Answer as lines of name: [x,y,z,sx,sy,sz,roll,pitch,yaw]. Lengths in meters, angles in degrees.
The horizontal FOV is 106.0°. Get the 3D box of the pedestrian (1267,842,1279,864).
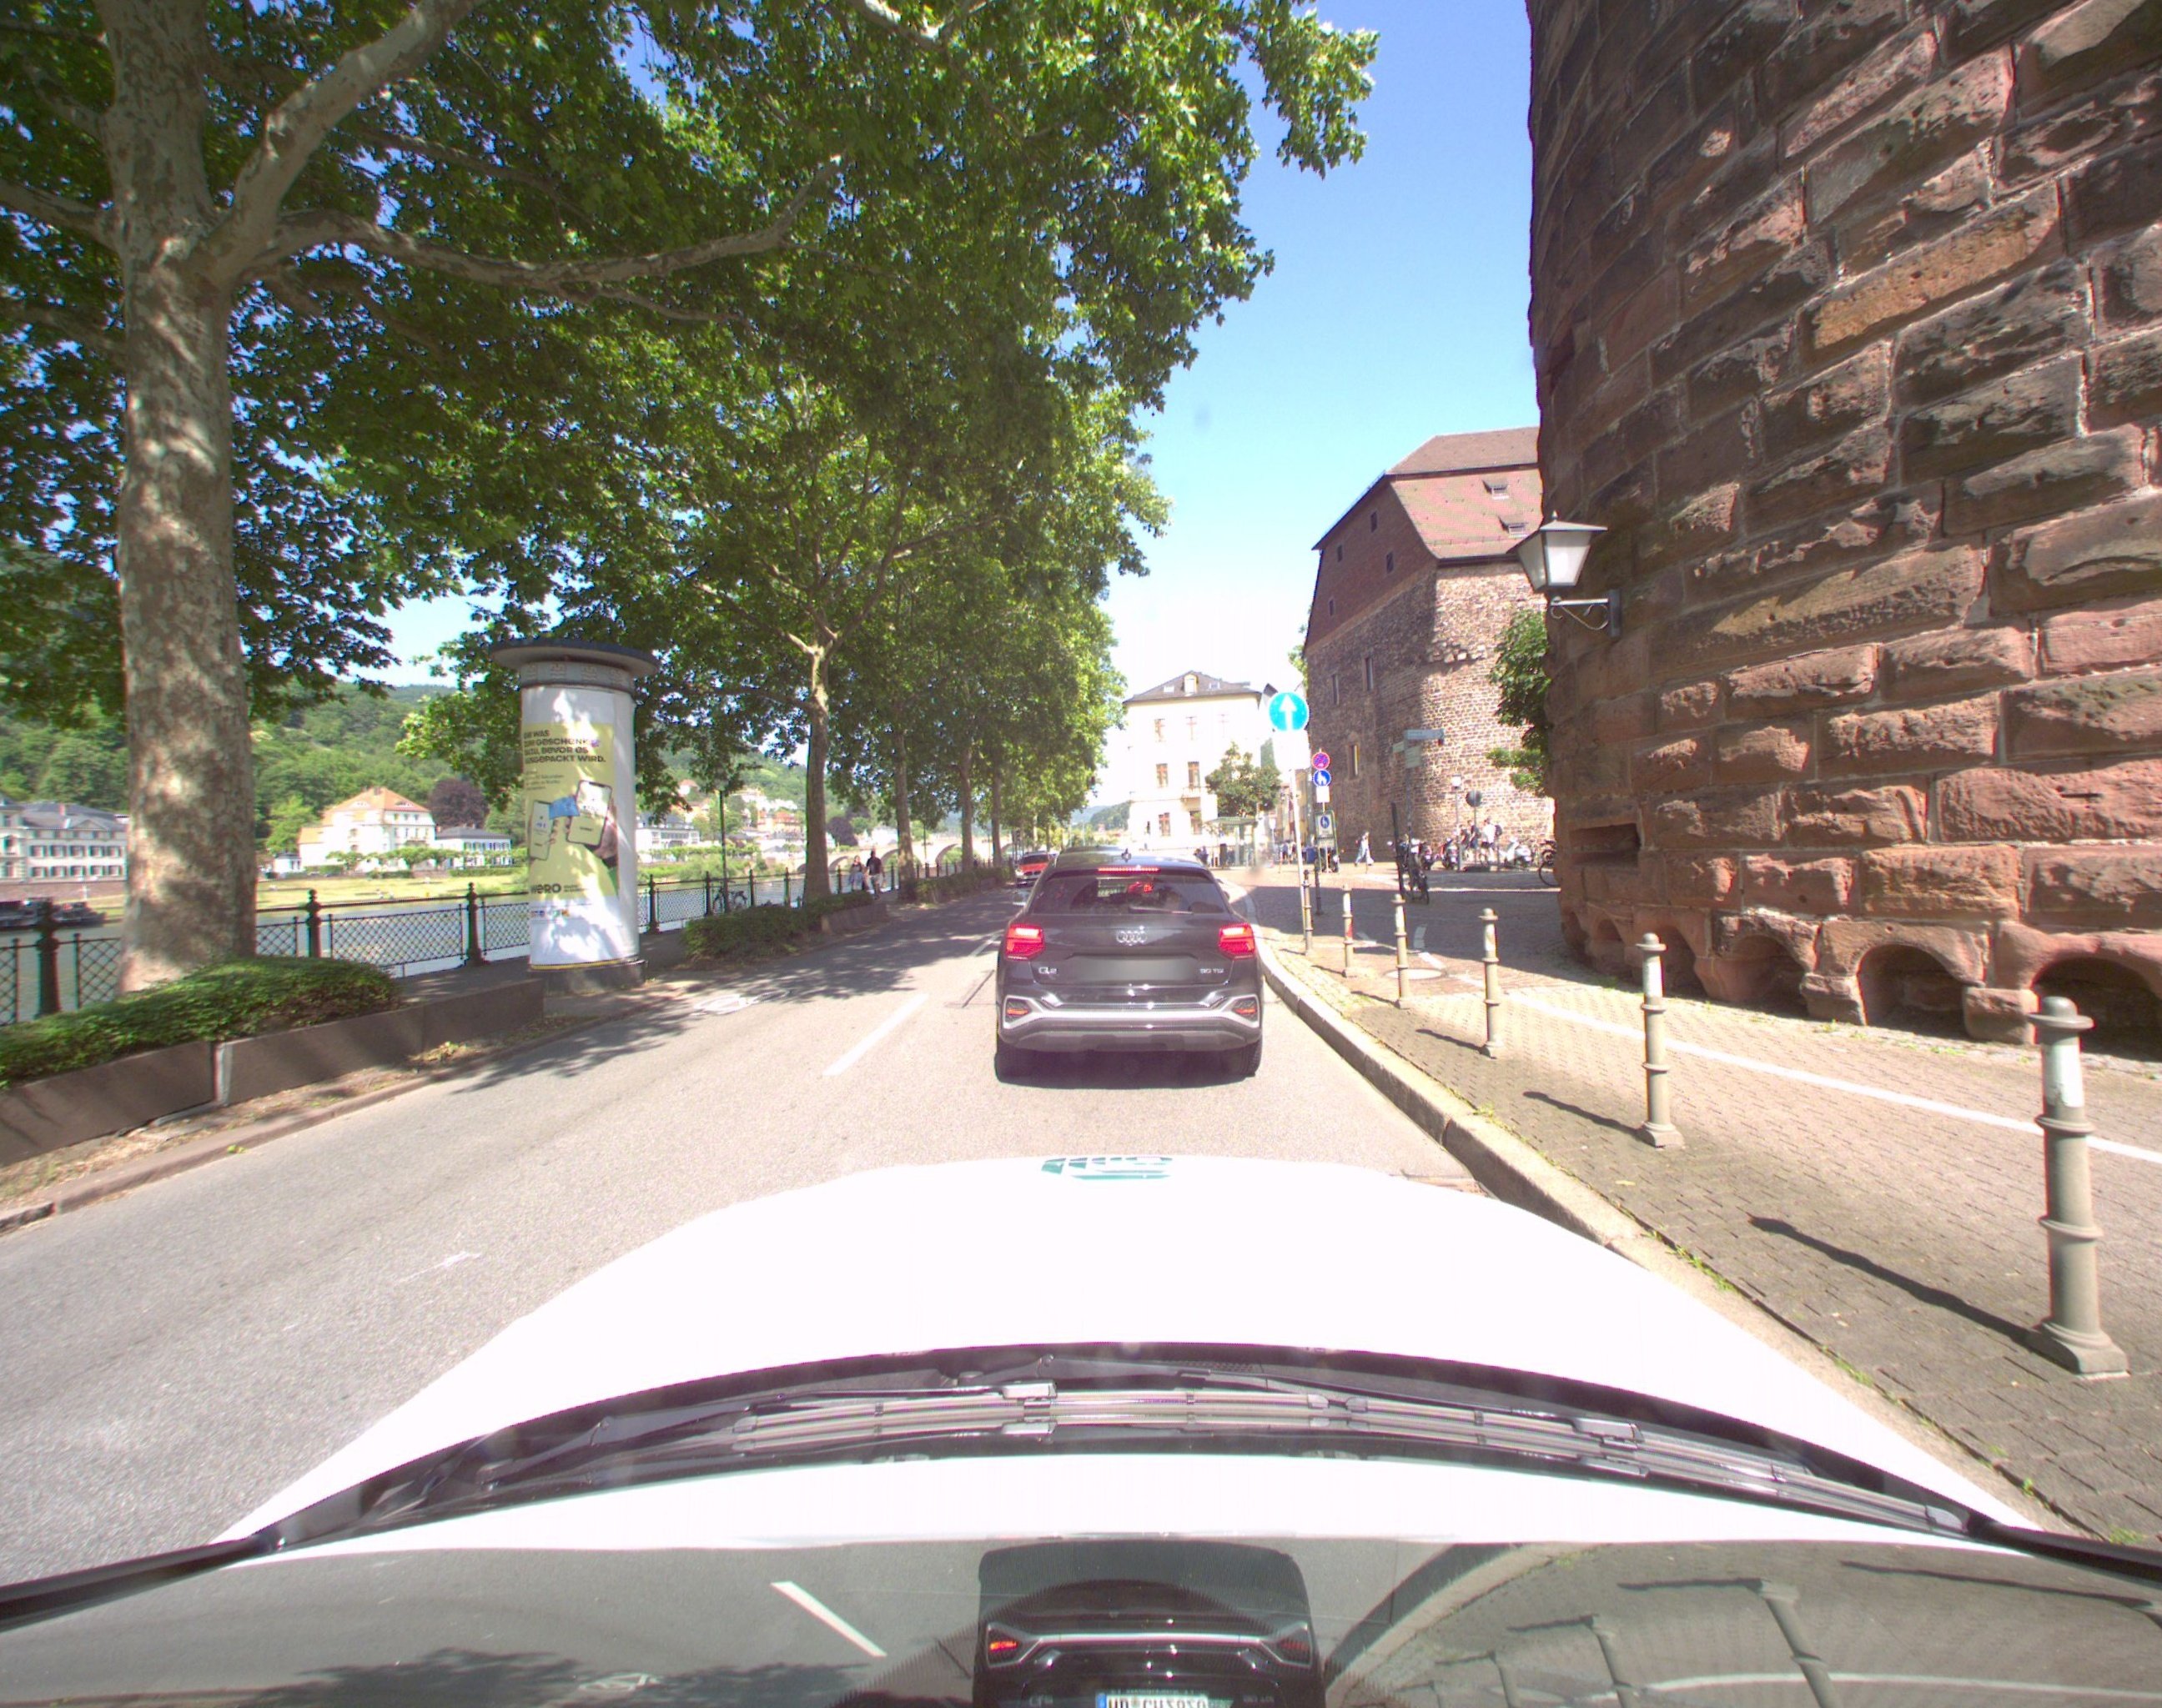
pedestrian: [17.391,-0.102,73.760,0.941,2.014,0.808,0,-1,2]

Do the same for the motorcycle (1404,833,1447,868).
motorcycle: [12.807,-0.127,30.309,0.672,1.235,2.313,0,-1,2]

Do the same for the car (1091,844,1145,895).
car: [1.296,0.508,29.230,1.788,1.682,4.002,-1,0,2]

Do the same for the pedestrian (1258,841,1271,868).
pedestrian: [9.559,0.009,42.505,0.555,1.385,0.588,-1,-1,4]

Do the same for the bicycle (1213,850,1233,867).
bicycle: [8.633,0.262,49.501,1.187,1.016,0.178,0,-1,-17]

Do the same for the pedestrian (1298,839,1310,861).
pedestrian: [17.079,-0.319,62.298,0.685,1.612,0.896,-3,0,23]

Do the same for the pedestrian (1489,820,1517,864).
pedestrian: [18.681,-0.531,36.055,0.672,1.920,0.814,0,-1,-26]

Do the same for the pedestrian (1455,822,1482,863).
pedestrian: [17.467,-0.503,36.712,0.656,1.802,0.838,-1,0,-34]

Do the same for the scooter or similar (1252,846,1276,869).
scooter or similar: [8.855,0.163,39.386,1.085,1.066,0.323,0,-1,-1]

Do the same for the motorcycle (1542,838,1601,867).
motorcycle: [18.502,-0.043,30.717,1.854,1.054,0.481,-1,-1,9]

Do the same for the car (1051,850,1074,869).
car: [-1.698,0.504,75.631,1.732,1.572,4.093,-6,0,2]

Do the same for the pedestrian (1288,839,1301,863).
pedestrian: [18.051,-0.252,68.892,0.936,2.014,0.808,-1,-1,3]

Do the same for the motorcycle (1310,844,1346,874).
motorcycle: [9.055,0.175,29.995,0.564,1.012,2.490,-2,0,1]

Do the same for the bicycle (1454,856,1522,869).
bicycle: [13.633,0.272,27.355,1.914,0.381,0.921,-2,-1,16]

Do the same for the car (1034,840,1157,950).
car: [0.259,0.588,13.583,1.786,1.595,3.400,0,0,2]

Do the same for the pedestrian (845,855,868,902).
pedestrian: [-8.192,0.888,29.743,0.599,1.685,0.583,-3,0,0]

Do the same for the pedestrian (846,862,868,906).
pedestrian: [-7.260,0.971,26.410,0.476,1.362,0.418,-4,0,5]

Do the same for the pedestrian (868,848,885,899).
pedestrian: [-7.624,0.713,30.354,0.532,1.887,0.437,0,0,1]

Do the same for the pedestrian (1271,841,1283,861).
pedestrian: [15.419,-0.222,63.995,0.772,1.564,0.647,-3,0,7]

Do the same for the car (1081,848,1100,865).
car: [1.098,0.296,90.645,1.985,1.806,4.003,-1,-1,3]

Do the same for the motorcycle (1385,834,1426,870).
motorcycle: [11.912,-0.059,29.949,0.653,1.266,2.201,-2,-1,2]

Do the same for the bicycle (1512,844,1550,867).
bicycle: [16.627,0.050,30.145,0.352,0.820,1.926,0,1,1]

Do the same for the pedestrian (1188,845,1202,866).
pedestrian: [6.833,0.100,48.867,0.662,1.231,0.640,0,-1,-5]

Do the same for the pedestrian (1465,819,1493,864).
pedestrian: [18.258,-0.567,37.360,0.736,2.014,0.868,0,-1,-39]

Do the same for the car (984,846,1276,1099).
car: [0.351,0.698,6.696,1.736,1.509,3.649,0,0,2]

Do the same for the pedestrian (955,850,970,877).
pedestrian: [-8.058,0.625,55.278,0.906,1.811,0.586,-1,-1,6]

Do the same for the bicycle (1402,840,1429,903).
bicycle: [6.851,0.330,16.730,0.192,1.203,1.775,-2,1,13]

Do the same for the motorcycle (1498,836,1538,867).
motorcycle: [15.581,-0.078,29.078,0.505,1.073,1.841,0,-1,2]

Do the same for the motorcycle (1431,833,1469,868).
motorcycle: [13.714,-0.114,30.292,0.544,1.235,2.031,0,-1,2]

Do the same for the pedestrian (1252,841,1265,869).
pedestrian: [12.067,0.075,55.510,0.744,1.890,0.753,-1,-1,4]

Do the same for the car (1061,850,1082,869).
car: [-0.976,0.532,84.559,1.806,1.725,4.423,-8,0,2]

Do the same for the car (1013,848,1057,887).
car: [-2.178,0.632,39.747,1.667,1.660,4.224,-5,0,1]

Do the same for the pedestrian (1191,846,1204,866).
pedestrian: [6.885,0.118,48.104,0.662,1.211,0.640,0,-1,-5]

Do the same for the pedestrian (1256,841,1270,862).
pedestrian: [12.666,-0.188,56.699,0.637,1.444,0.797,-4,0,-5]

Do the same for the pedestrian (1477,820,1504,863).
pedestrian: [17.978,-0.542,35.741,0.671,1.884,0.814,0,-1,-24]

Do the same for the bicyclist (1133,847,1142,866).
bicyclist: [4.353,0.167,62.621,0.604,1.450,0.590,0,-1,-3]

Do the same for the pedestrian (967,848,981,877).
pedestrian: [-7.562,0.588,57.616,0.906,2.014,0.587,-1,-1,6]

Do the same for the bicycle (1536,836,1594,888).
bicycle: [11.537,0.175,19.470,0.444,1.162,1.733,-2,0,5]

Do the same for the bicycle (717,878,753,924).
bicycle: [-8.888,1.188,20.960,0.358,1.091,1.296,1,0,1]

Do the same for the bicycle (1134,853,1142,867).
bicycle: [4.353,0.463,62.615,0.436,1.086,1.675,0,-1,-2]

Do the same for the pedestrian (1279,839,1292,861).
pedestrian: [15.773,-0.314,62.896,0.773,1.621,0.646,-3,0,4]

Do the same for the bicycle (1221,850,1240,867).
bicycle: [8.971,0.261,48.901,1.205,1.035,0.178,0,-1,-17]

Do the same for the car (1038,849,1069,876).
car: [-1.863,0.584,56.084,1.762,1.660,4.001,-4,0,1]

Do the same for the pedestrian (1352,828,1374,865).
pedestrian: [12.817,-0.336,36.971,0.800,1.662,0.660,-3,0,25]

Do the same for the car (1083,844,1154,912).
car: [0.981,0.575,21.747,1.704,1.609,3.656,-1,0,2]

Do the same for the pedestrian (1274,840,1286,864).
pedestrian: [16.995,-0.148,69.466,0.836,2.014,0.738,0,-1,2]
